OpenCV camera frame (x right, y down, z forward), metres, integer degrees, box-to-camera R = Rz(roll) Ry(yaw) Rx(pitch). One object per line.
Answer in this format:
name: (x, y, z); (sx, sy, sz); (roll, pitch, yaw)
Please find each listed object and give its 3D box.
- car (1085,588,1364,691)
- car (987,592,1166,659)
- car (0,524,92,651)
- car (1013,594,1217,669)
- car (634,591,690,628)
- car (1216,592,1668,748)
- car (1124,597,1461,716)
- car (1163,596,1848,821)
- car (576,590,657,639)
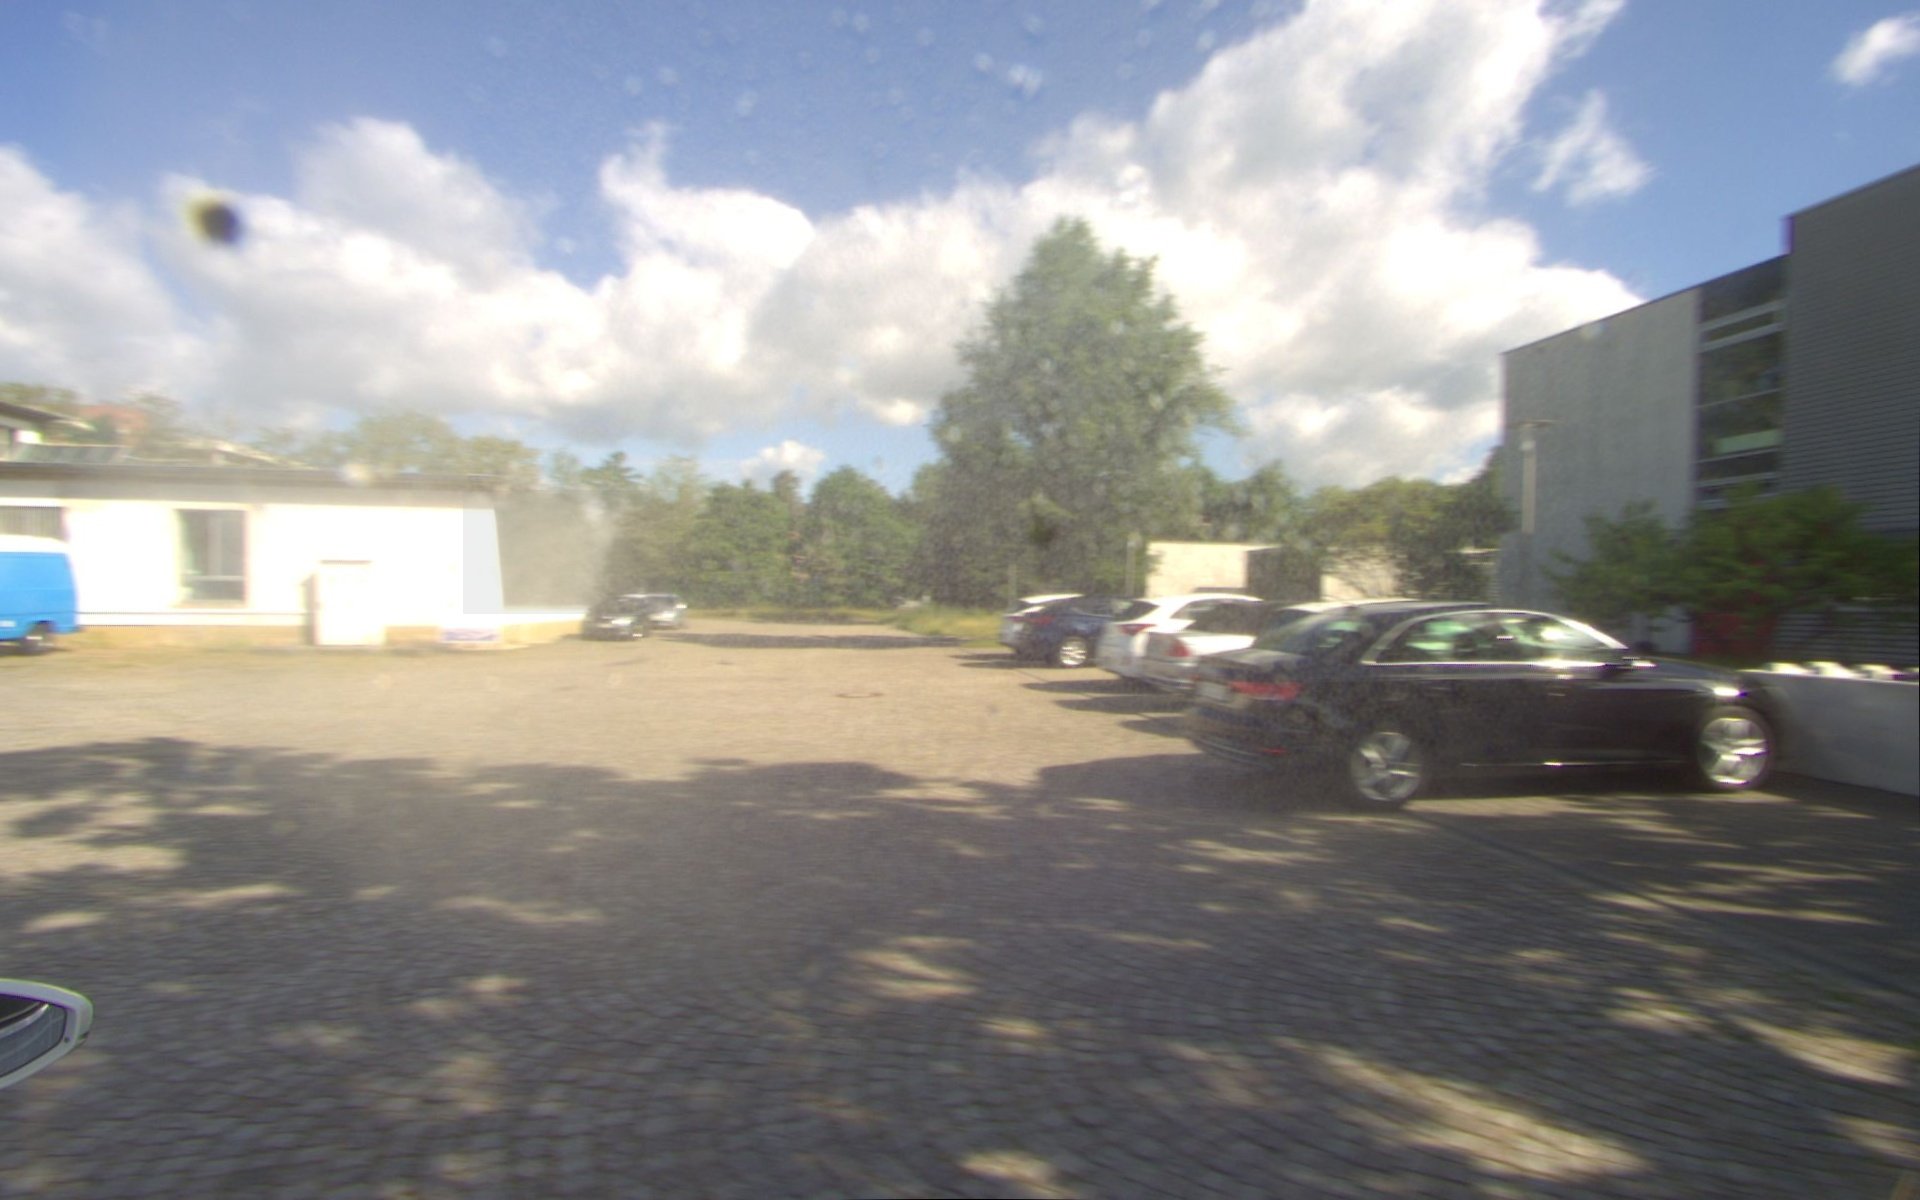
car: (4.071, 0.574, 15.701); (3.850, 1.466, 1.754); (-1, 1, -8)
car: (2.678, 0.554, 23.467); (3.850, 1.454, 1.794); (-1, 1, -8)
car: (-19.893, -0.253, 19.335); (2.049, 2.517, 5.235); (1, 1, -6)
car: (3.167, 0.613, 20.798); (3.850, 1.436, 1.691); (-1, 1, -8)
car: (-12.498, 0.382, 42.162); (1.660, 1.454, 3.984); (1, 0, -8)
car: (5.019, 0.681, 10.760); (4.071, 1.479, 1.691); (-1, 1, -4)
car: (4.282, 0.678, 13.185); (3.850, 1.390, 1.727); (-1, 1, -8)
car: (4.121, 0.714, 7.862); (4.645, 1.442, 1.755); (-1, 1, -10)
car: (-11.073, 0.443, 32.569); (1.736, 1.454, 3.989); (1, 0, -8)
